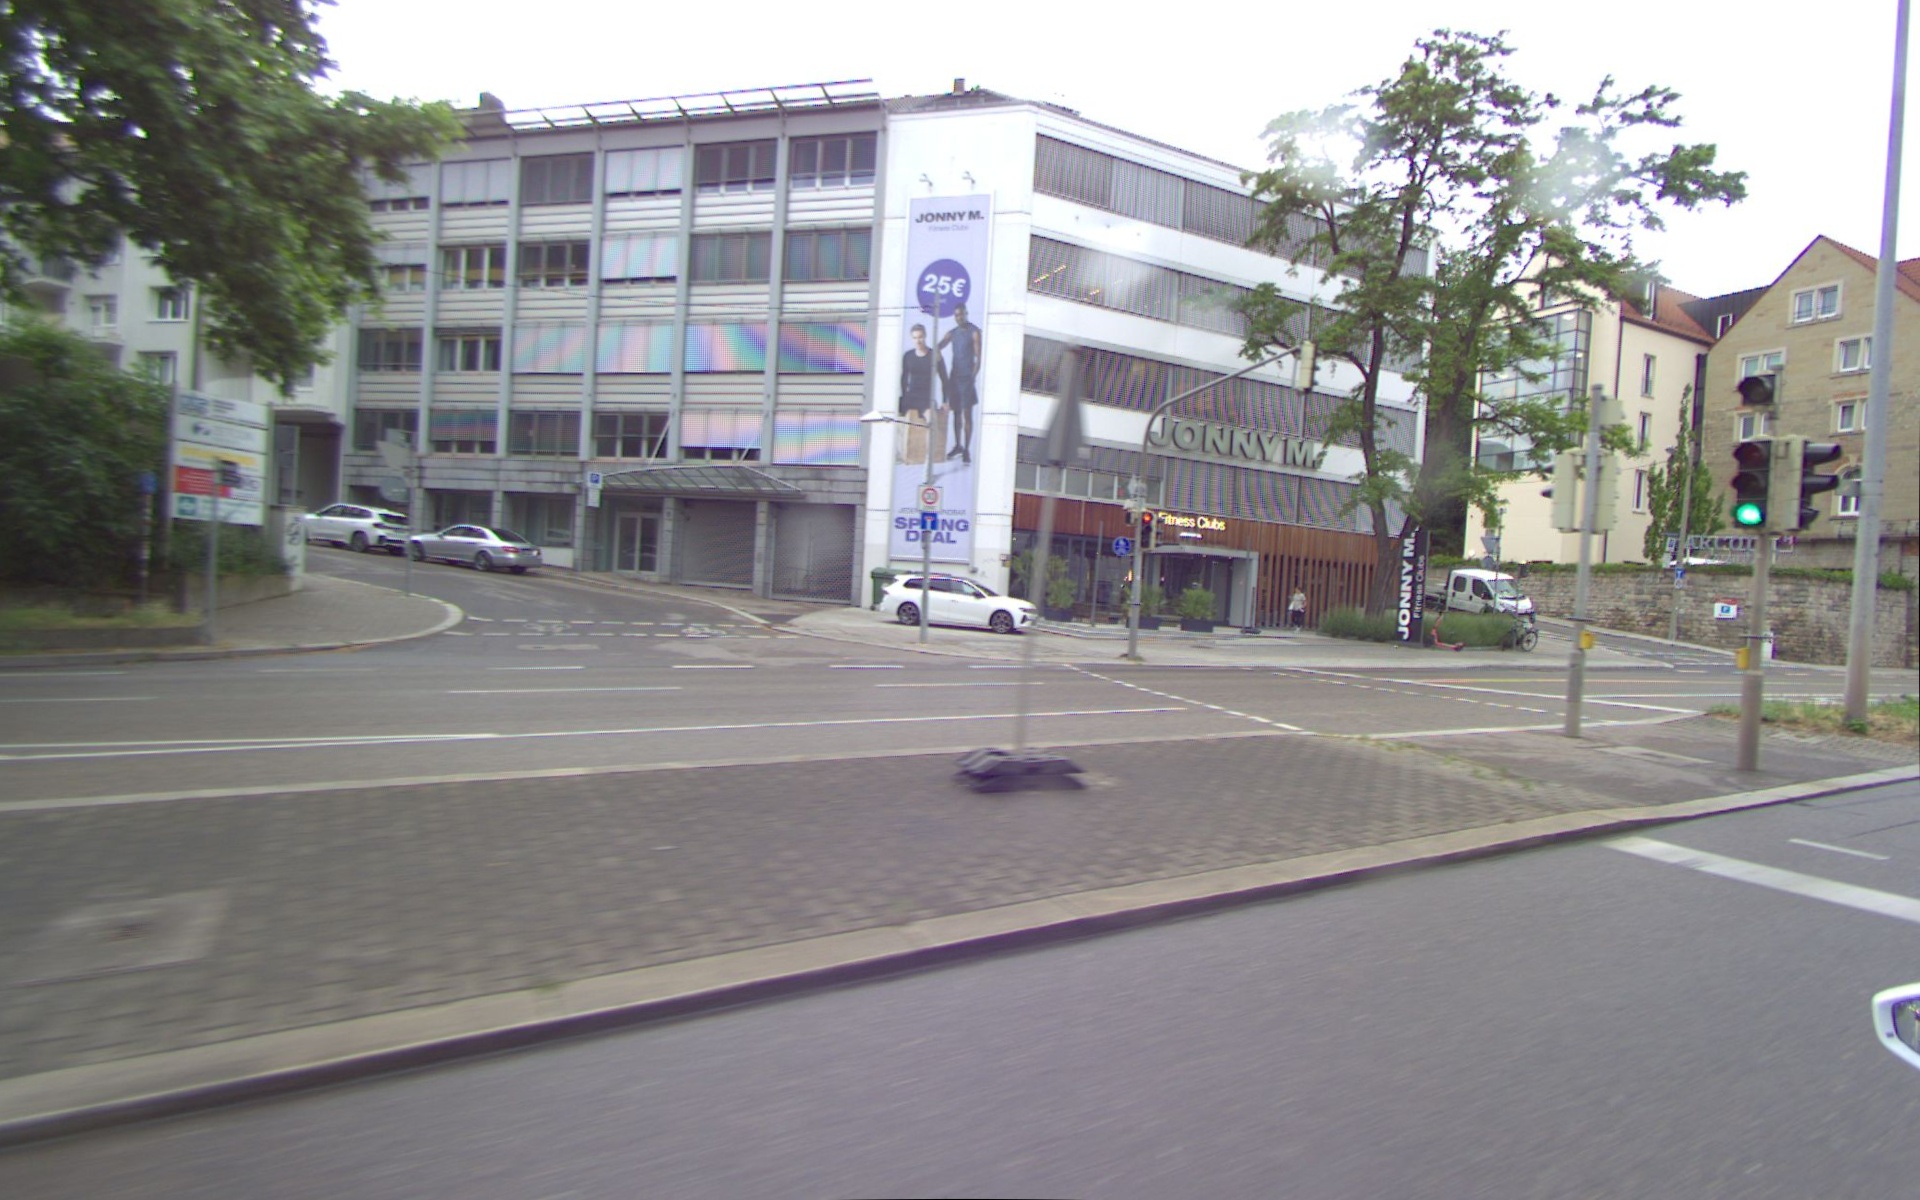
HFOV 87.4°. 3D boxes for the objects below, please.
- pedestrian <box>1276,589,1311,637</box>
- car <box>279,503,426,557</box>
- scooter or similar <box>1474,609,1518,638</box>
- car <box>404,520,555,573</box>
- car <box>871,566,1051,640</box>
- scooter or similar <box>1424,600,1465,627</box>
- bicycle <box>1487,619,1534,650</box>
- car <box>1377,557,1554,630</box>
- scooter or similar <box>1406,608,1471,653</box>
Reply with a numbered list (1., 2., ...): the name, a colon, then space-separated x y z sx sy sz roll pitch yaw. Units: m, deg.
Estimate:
1. pedestrian: 11.844 0.449 35.668 0.831 1.663 0.765 1 0 -26
2. car: -21.898 -2.519 36.251 4.398 1.596 2.000 5 2 15
3. scooter or similar: 20.918 0.923 39.243 0.438 0.934 1.463 1 6 -27
4. car: -16.572 -1.830 34.690 4.398 1.485 2.000 5 2 15
5. car: 0.058 0.054 28.900 4.746 1.676 2.001 5 2 13
6. scooter or similar: 20.064 0.562 41.622 0.438 0.934 1.463 1 6 -27
7. bicycle: 18.697 1.173 34.096 1.735 1.004 0.455 2 1 -26
8. car: 22.267 -0.407 44.720 2.479 2.307 6.880 -1 9 -24
9. scooter or similar: 15.193 0.954 31.923 1.727 1.263 0.369 6 3 35
